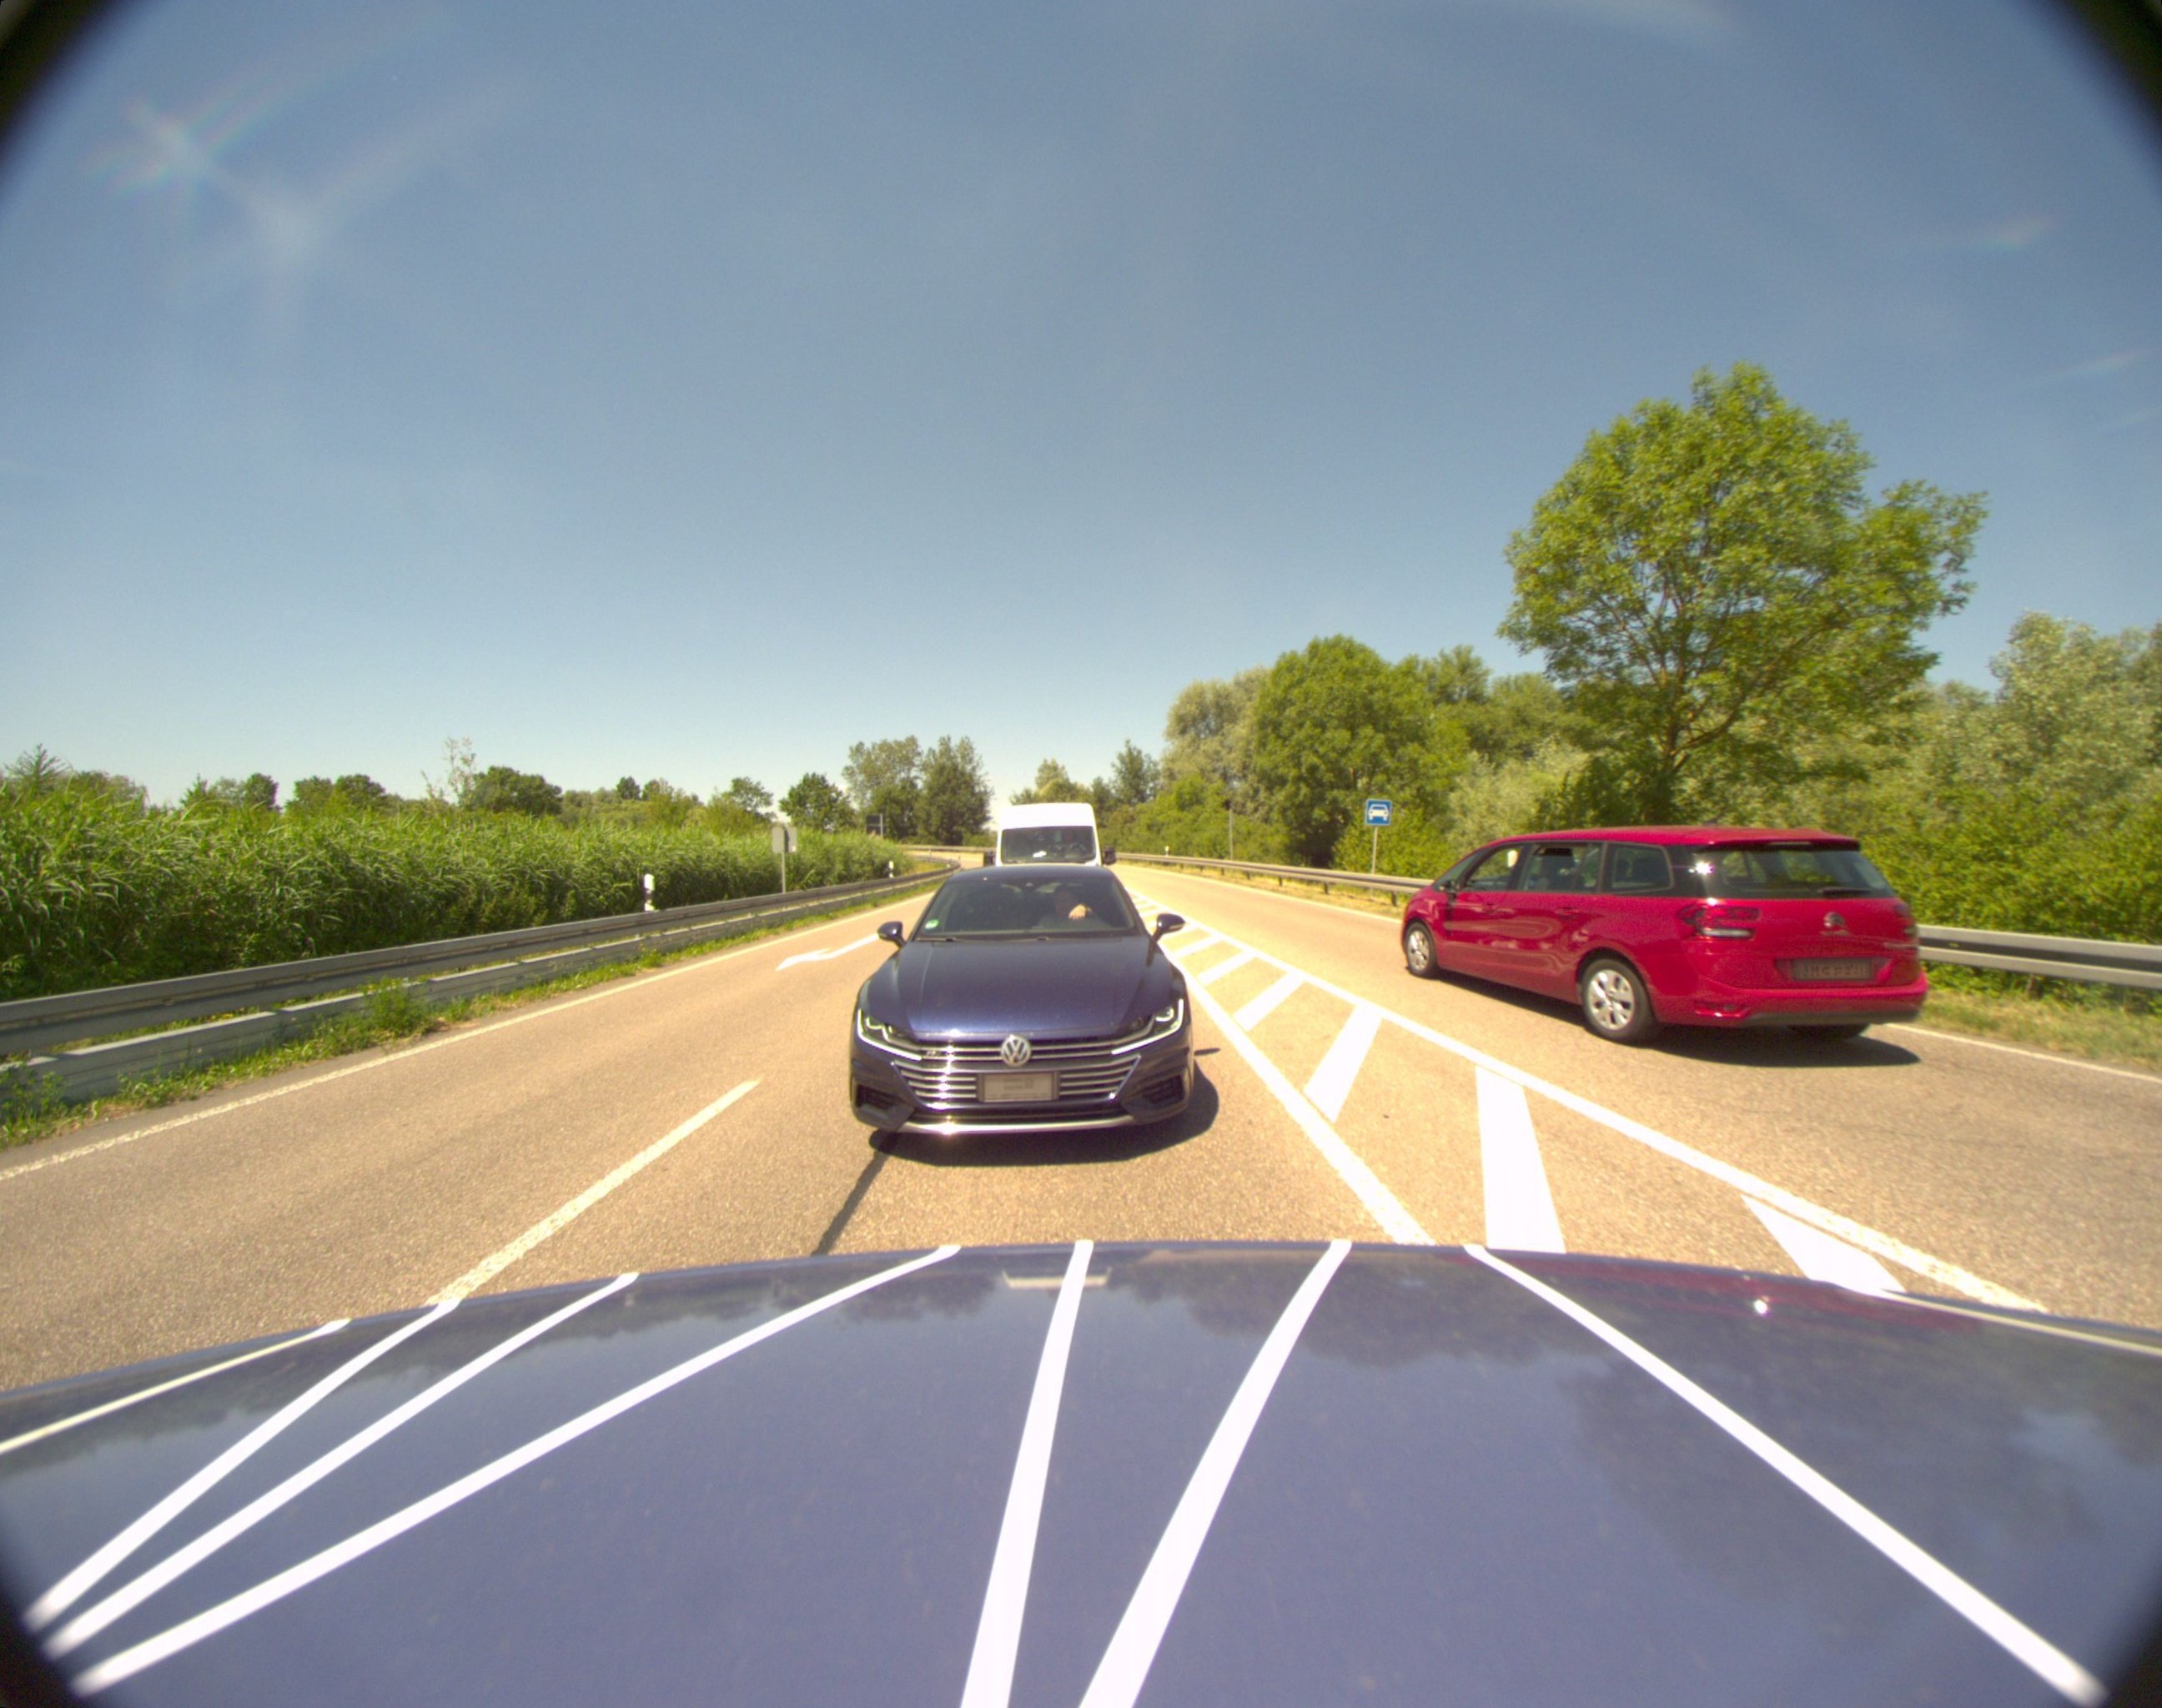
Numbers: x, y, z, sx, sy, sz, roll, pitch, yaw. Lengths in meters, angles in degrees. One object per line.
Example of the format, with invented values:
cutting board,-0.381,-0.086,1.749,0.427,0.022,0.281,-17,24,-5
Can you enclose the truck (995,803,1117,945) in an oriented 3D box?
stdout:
truck,-0.607,0.311,15.882,2.011,2.365,5.909,-2,1,-4

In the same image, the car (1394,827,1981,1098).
car,4.658,0.648,6.834,1.741,1.676,4.207,0,1,-4

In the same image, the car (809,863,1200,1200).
car,-0.334,0.877,5.812,1.819,1.454,4.415,-2,1,1
